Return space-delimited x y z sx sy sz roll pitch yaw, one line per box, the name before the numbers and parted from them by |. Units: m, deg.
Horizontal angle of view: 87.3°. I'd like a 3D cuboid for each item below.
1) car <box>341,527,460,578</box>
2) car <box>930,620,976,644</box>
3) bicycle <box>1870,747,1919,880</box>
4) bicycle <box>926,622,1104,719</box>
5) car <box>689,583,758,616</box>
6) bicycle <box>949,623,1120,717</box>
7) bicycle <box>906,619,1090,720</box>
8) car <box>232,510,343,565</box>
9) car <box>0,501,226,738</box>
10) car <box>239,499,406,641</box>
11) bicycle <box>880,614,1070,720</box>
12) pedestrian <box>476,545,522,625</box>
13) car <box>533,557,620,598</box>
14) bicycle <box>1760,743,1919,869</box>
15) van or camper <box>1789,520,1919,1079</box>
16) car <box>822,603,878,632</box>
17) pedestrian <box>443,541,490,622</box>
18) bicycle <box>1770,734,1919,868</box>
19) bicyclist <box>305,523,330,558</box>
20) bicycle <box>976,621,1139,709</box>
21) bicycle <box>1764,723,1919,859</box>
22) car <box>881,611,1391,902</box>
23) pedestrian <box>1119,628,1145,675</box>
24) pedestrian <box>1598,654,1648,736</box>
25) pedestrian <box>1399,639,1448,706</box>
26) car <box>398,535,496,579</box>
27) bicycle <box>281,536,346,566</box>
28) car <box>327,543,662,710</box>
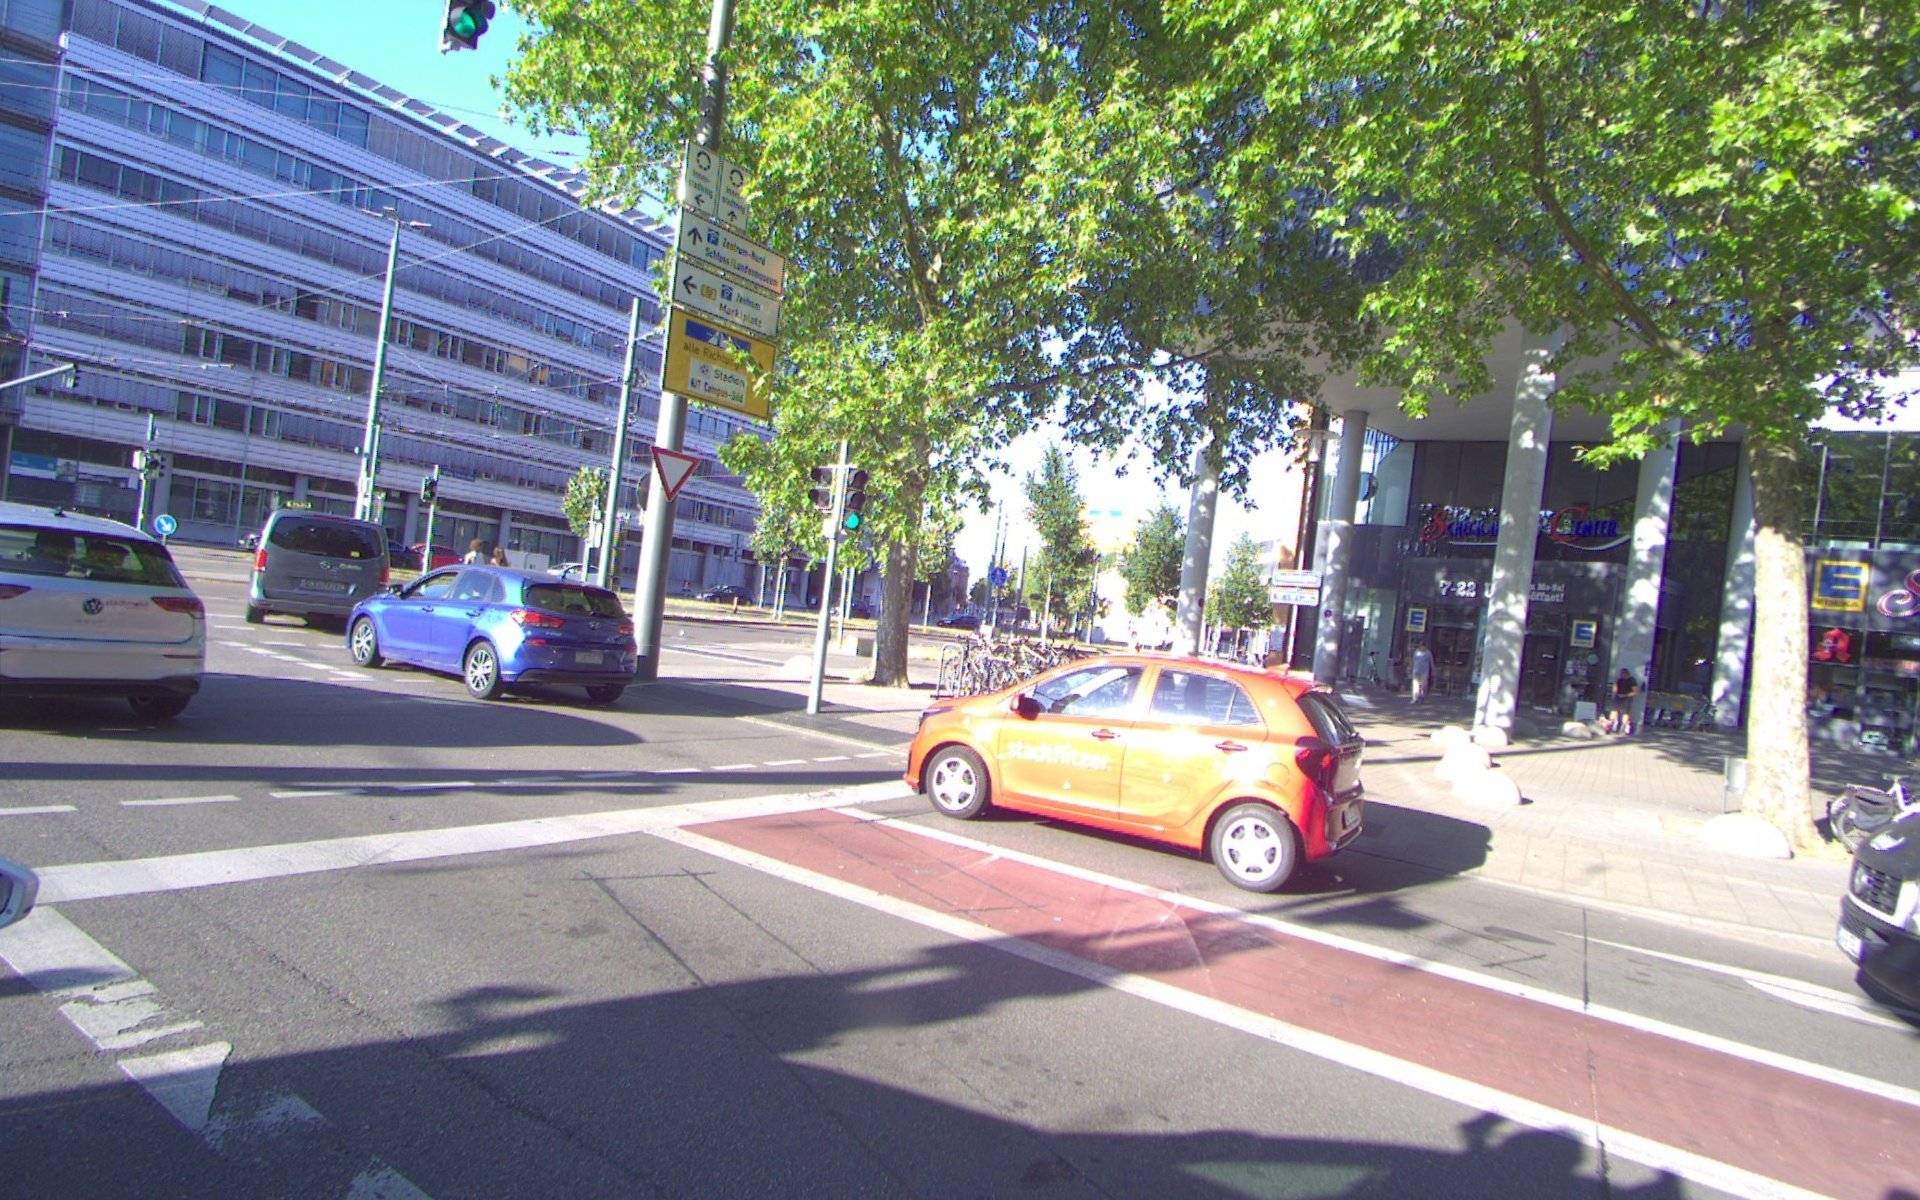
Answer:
car | -25.424 -2.138 45.841 1.854 1.744 4.256 7 0 34
car | -0.565 2.794 87.392 1.852 1.614 4.121 6 -2 35
bicycle | 10.308 2.188 9.410 2.514 1.234 0.756 5 -2 37
bicycle | 0.889 1.168 16.972 2.897 1.252 0.705 6 -1 32
car | -15.718 -0.025 66.980 1.852 1.614 4.121 6 -2 35
bicycle | 1.274 1.195 17.671 2.896 1.253 0.696 6 1 31
bicycle | 0.572 1.098 16.312 2.896 1.243 0.686 6 -1 31
car | -33.559 -3.113 50.273 1.967 2.037 3.995 6 -2 32
car | -7.386 -0.034 7.496 3.936 1.435 1.750 7 -1 34
car | -10.949 -0.542 17.599 1.986 1.919 4.846 8 -1 -29
bicycle | 0.191 1.021 15.714 2.896 1.252 0.705 6 -1 31
pedestrian | -10.875 -0.365 23.741 0.680 1.781 0.734 6 1 -38
car | -20.951 -1.192 55.045 1.852 1.614 3.991 6 -2 35
bicycle | 11.750 2.564 11.649 3.758 1.234 0.792 5 -2 36
van or camper | 7.660 1.279 3.895 6.390 2.647 2.002 7 0 32
car | -8.303 1.319 76.069 1.852 1.614 4.121 6 -2 35
pedestrian | -11.430 -0.429 23.289 0.674 1.781 0.734 6 1 -38
bicycle | 10.885 2.283 10.433 3.759 1.234 0.756 5 -2 38
bicyclist | -29.875 -2.766 46.788 0.604 1.521 0.663 7 1 37
bicycle | 1.783 1.188 18.724 2.896 1.253 0.704 6 1 31
bicycle | 11.323 2.367 11.019 3.757 1.235 0.727 10 1 38
car | 1.324 1.073 7.945 3.536 1.476 1.493 7 -1 31
pedestrian | 6.126 1.839 35.850 0.569 1.612 0.595 7 0 32
pedestrian | 17.688 2.538 26.835 0.847 2.037 1.021 6 -1 38
pedestrian | 14.126 2.208 30.662 0.800 1.913 0.871 5 1 -16
car | -26.353 -2.192 51.792 1.769 1.569 3.990 6 -2 36
bicycle | -29.994 -2.266 46.717 0.627 1.035 2.410 7 0 36
car | -5.805 0.290 12.382 4.145 1.476 1.750 7 -1 34
